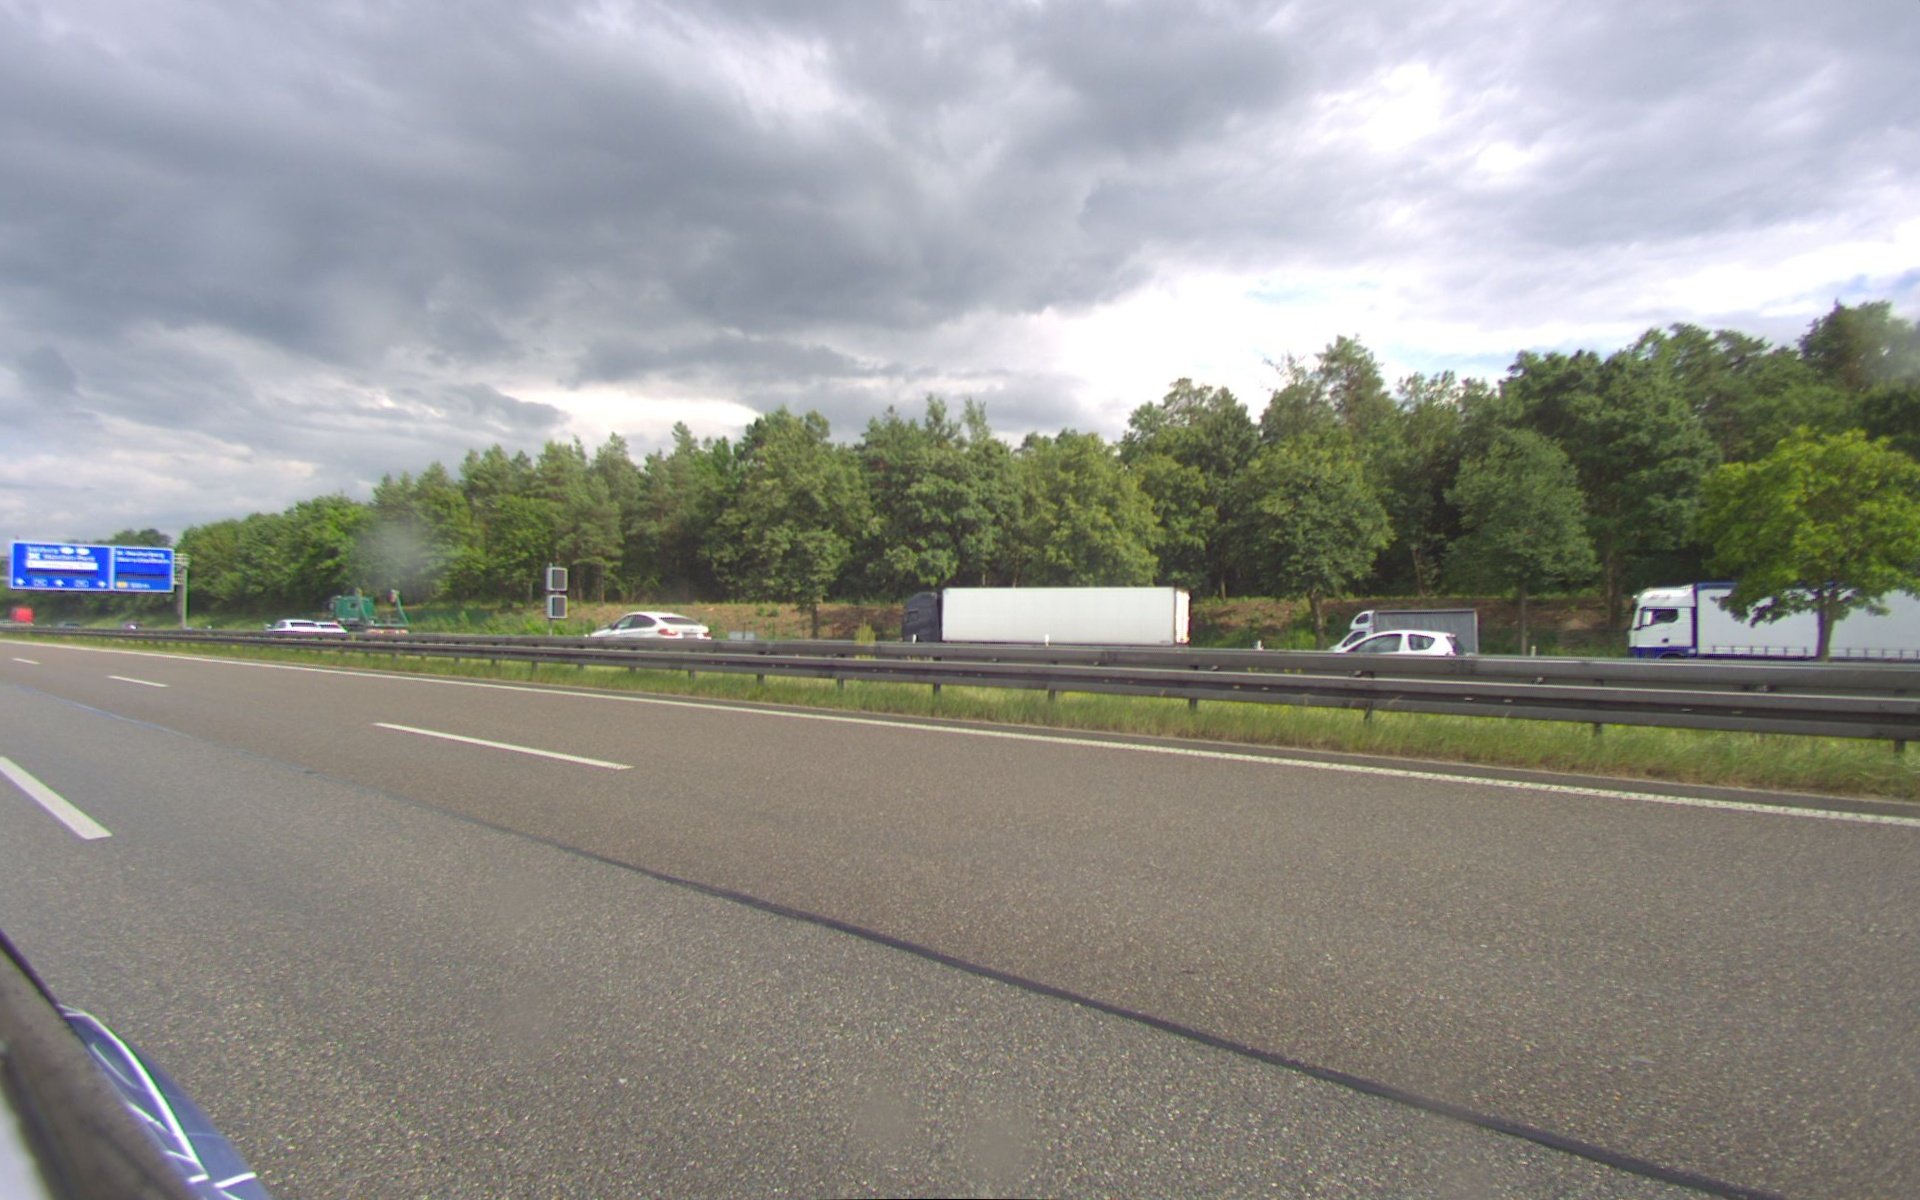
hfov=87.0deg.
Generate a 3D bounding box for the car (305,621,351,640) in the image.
[{"bbox_3d":[-36.922,1.767,59.084,3.113,1.065,1.430,-1,0,41],"label":"car"}]

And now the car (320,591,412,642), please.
[{"bbox_3d":[-38.225,1.028,64.998,7.340,3.133,2.914,-1,0,41],"label":"car"}]

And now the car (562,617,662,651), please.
[{"bbox_3d":[-15.743,1.478,45.663,5.156,1.403,1.953,-1,0,41],"label":"car"}]

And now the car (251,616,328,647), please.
[{"bbox_3d":[-33.644,1.538,50.724,5.418,1.403,1.879,-1,0,41],"label":"car"}]

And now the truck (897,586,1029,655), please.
[{"bbox_3d":[0.167,1.118,57.873,6.882,3.732,3.188,-1,0,27],"label":"truck"}]

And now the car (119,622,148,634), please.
[{"bbox_3d":[-74.836,2.539,91.616,3.112,1.065,1.431,-1,0,40],"label":"car"}]

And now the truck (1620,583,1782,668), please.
[{"bbox_3d":[30.273,1.011,41.598,5.068,3.292,2.635,-1,0,31],"label":"truck"}]

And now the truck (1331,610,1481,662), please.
[{"bbox_3d":[20.863,1.643,47.409,6.290,2.282,2.105,-1,-1,28],"label":"truck"}]

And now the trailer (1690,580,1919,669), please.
[{"bbox_3d":[33.545,0.955,39.672,7.715,3.257,2.560,-1,-1,32],"label":"trailer"}]

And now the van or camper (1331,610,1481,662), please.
[{"bbox_3d":[20.863,1.643,47.409,6.294,2.282,2.105,-1,-1,28],"label":"van or camper"}]

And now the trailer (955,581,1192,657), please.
[{"bbox_3d":[5.992,1.058,54.862,12.509,3.767,3.184,-1,-2,28],"label":"trailer"}]

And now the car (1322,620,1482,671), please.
[{"bbox_3d":[10.152,1.007,23.346,3.113,1.065,1.430,-1,0,41],"label":"car"}]

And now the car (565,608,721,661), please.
[{"bbox_3d":[-9.480,0.964,29.991,5.418,1.403,1.879,-1,0,41],"label":"car"}]
